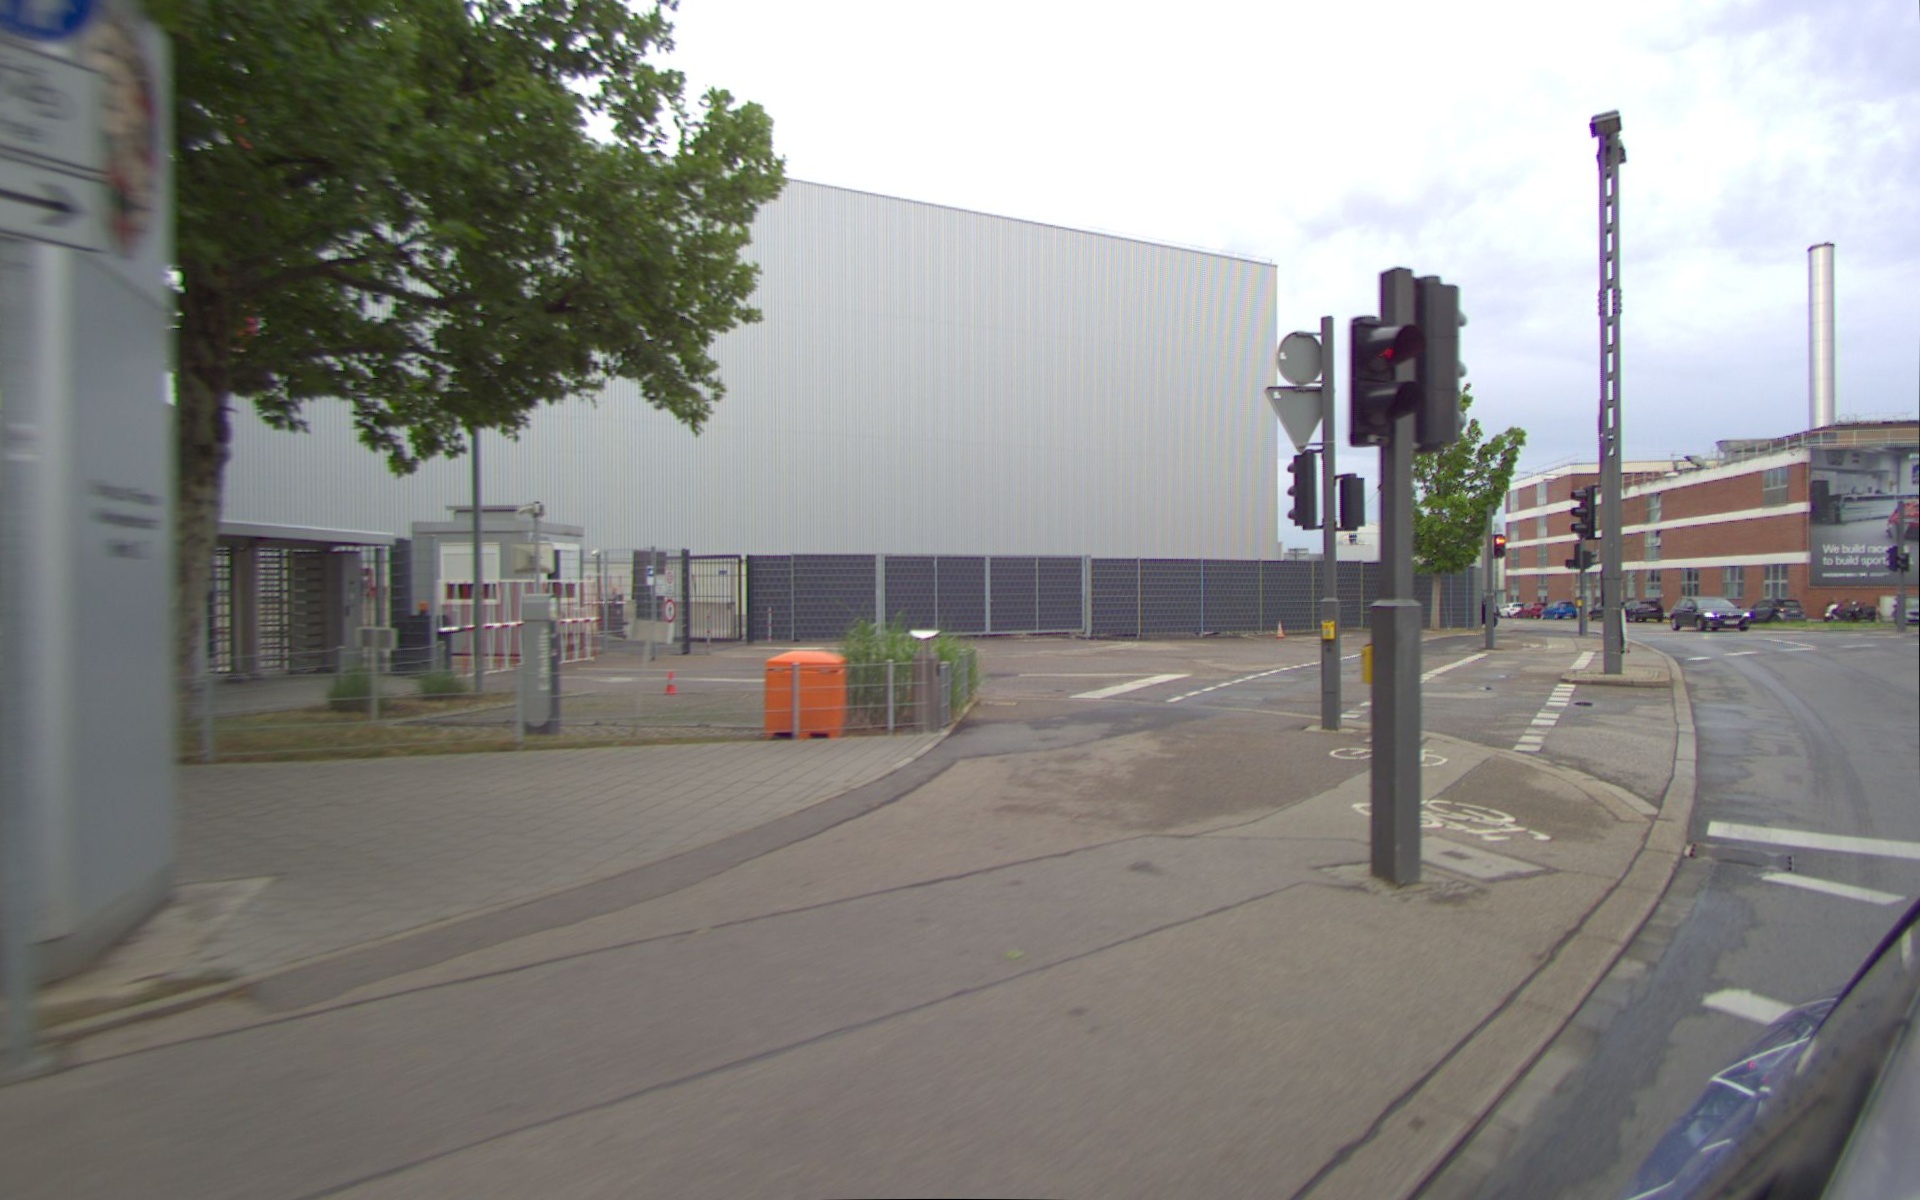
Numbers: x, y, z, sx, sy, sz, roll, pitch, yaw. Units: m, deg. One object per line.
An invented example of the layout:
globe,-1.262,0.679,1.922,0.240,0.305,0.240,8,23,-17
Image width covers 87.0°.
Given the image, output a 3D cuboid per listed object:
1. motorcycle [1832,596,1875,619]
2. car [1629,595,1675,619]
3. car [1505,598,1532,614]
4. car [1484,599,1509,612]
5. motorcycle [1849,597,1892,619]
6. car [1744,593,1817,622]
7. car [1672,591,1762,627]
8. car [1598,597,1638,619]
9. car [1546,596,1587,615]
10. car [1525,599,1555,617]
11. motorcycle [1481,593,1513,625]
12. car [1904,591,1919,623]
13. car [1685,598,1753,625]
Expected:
motorcycle,49.275,0.415,55.840,1.628,1.125,0.541,-3,-1,21
car,47.582,0.460,69.636,1.438,1.462,3.449,-3,0,15
car,52.927,0.560,95.938,1.438,1.393,3.373,-3,0,15
car,55.425,0.577,104.590,1.438,1.256,3.355,-3,0,15
motorcycle,49.316,0.424,54.848,1.582,1.134,0.541,-3,-1,21
car,44.901,0.418,55.434,1.522,1.512,2.755,1,-1,-8
car,32.099,0.372,43.037,1.696,1.444,3.980,-1,0,16
car,48.527,0.599,74.671,1.438,1.462,3.373,-3,0,15
car,50.724,0.455,84.757,1.669,1.462,3.381,-3,0,8
car,51.521,0.662,89.919,1.438,1.462,3.373,-3,0,15
motorcycle,22.882,0.403,43.181,0.645,1.327,2.092,-1,-1,13
car,47.496,0.305,49.605,1.618,1.523,3.199,-1,0,41
car,45.608,0.663,60.912,1.543,1.462,4.093,-3,0,10
